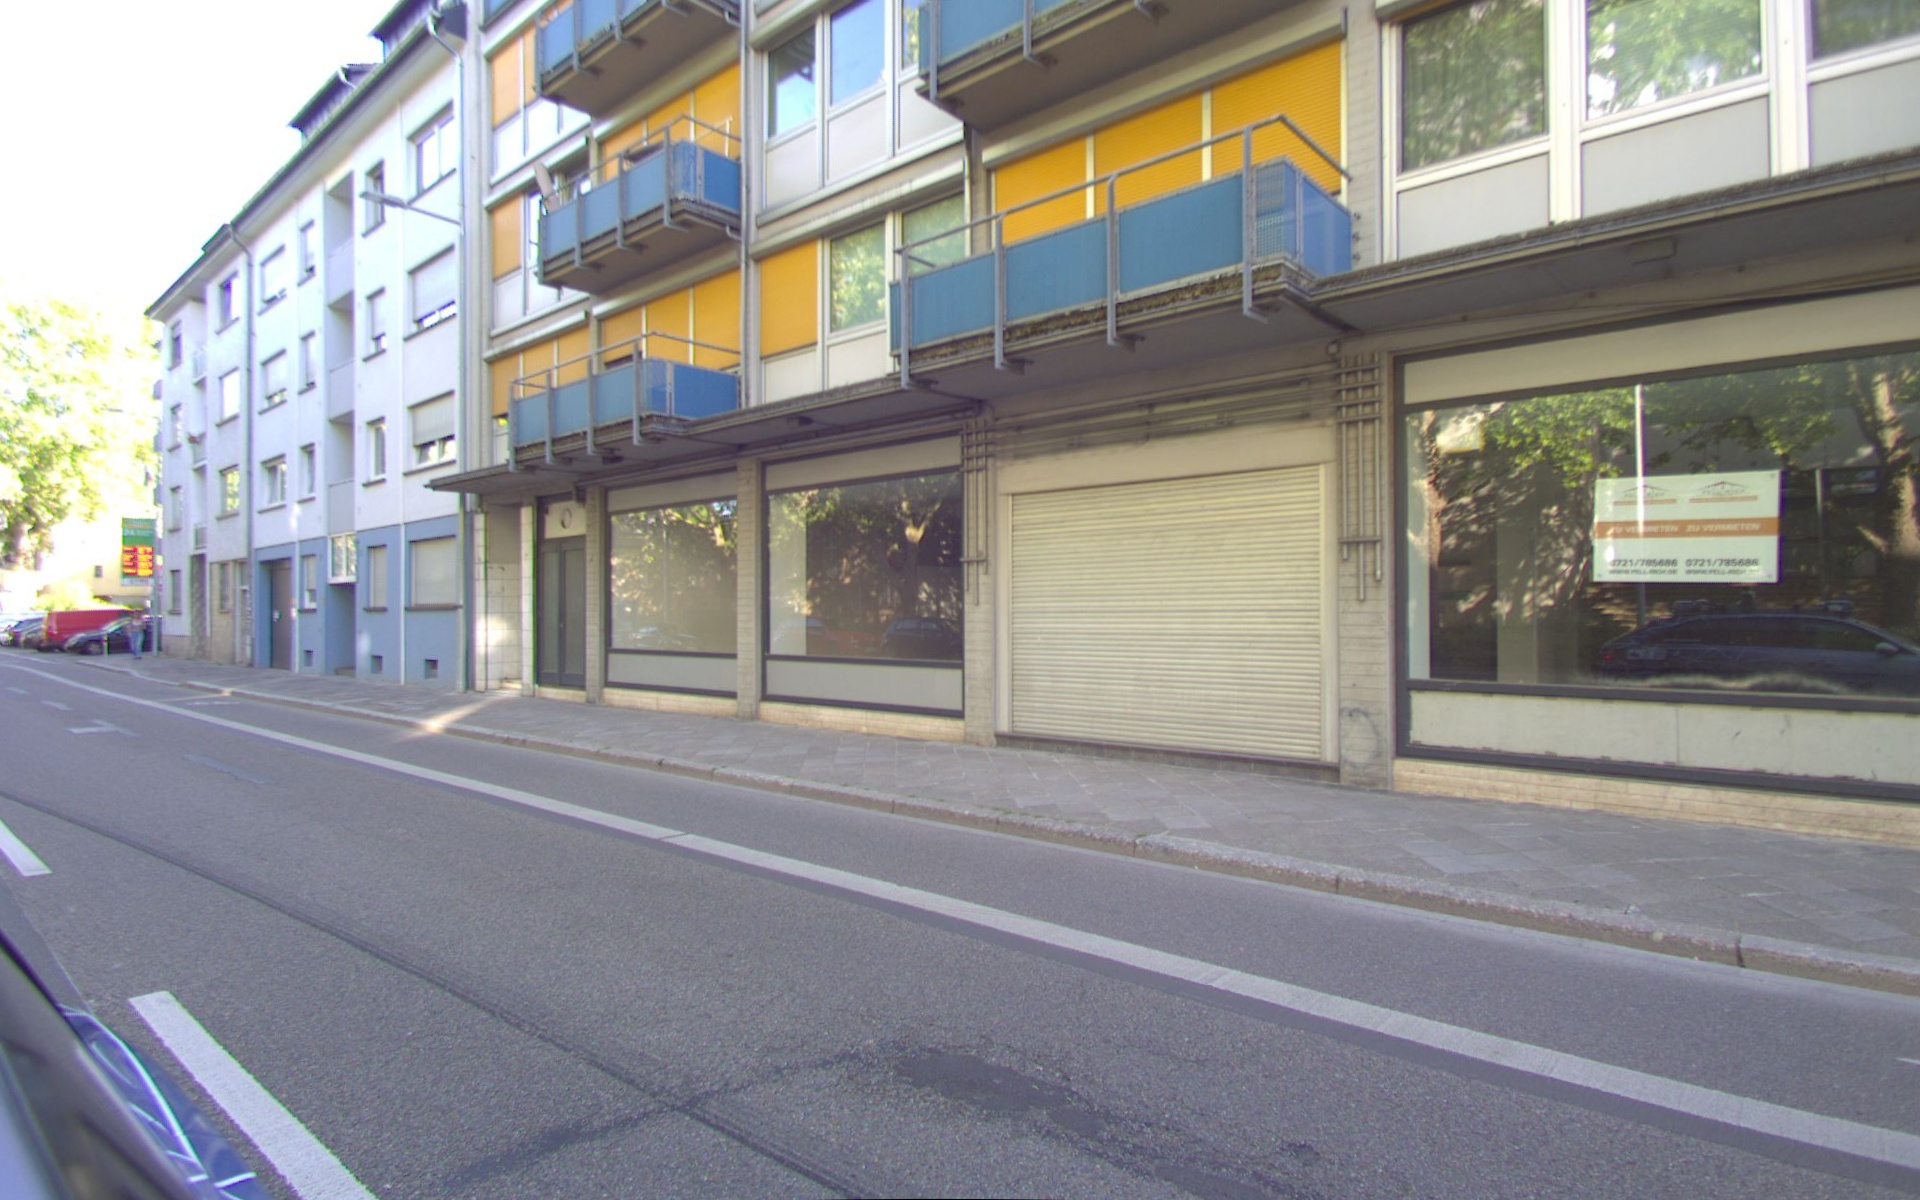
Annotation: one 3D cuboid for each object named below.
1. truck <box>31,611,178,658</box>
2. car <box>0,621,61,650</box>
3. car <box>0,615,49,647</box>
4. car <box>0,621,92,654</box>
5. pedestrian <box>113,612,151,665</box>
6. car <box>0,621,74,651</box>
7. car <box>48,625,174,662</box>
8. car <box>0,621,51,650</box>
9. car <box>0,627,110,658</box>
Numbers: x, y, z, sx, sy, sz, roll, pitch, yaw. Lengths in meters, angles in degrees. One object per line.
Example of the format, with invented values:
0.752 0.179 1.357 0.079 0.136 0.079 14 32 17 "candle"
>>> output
-40.341 1.580 47.831 1.998 2.036 5.024 -1 0 40 "truck"
-55.058 2.078 58.996 1.715 1.594 3.660 -1 0 35 "car"
-59.750 1.964 63.830 1.693 1.953 3.224 -1 0 43 "car"
-50.813 2.028 55.963 1.699 1.640 3.952 -1 0 35 "car"
-28.728 1.310 35.106 0.741 1.785 0.884 -1 0 41 "pedestrian"
-52.874 2.033 57.467 1.656 1.599 3.615 -1 0 35 "car"
-36.774 1.835 43.902 1.780 1.404 3.947 -1 0 39 "car"
-56.879 2.118 60.388 1.740 1.600 3.685 -1 0 35 "car"
-43.502 2.003 48.479 1.904 1.282 3.983 -1 0 39 "car"
